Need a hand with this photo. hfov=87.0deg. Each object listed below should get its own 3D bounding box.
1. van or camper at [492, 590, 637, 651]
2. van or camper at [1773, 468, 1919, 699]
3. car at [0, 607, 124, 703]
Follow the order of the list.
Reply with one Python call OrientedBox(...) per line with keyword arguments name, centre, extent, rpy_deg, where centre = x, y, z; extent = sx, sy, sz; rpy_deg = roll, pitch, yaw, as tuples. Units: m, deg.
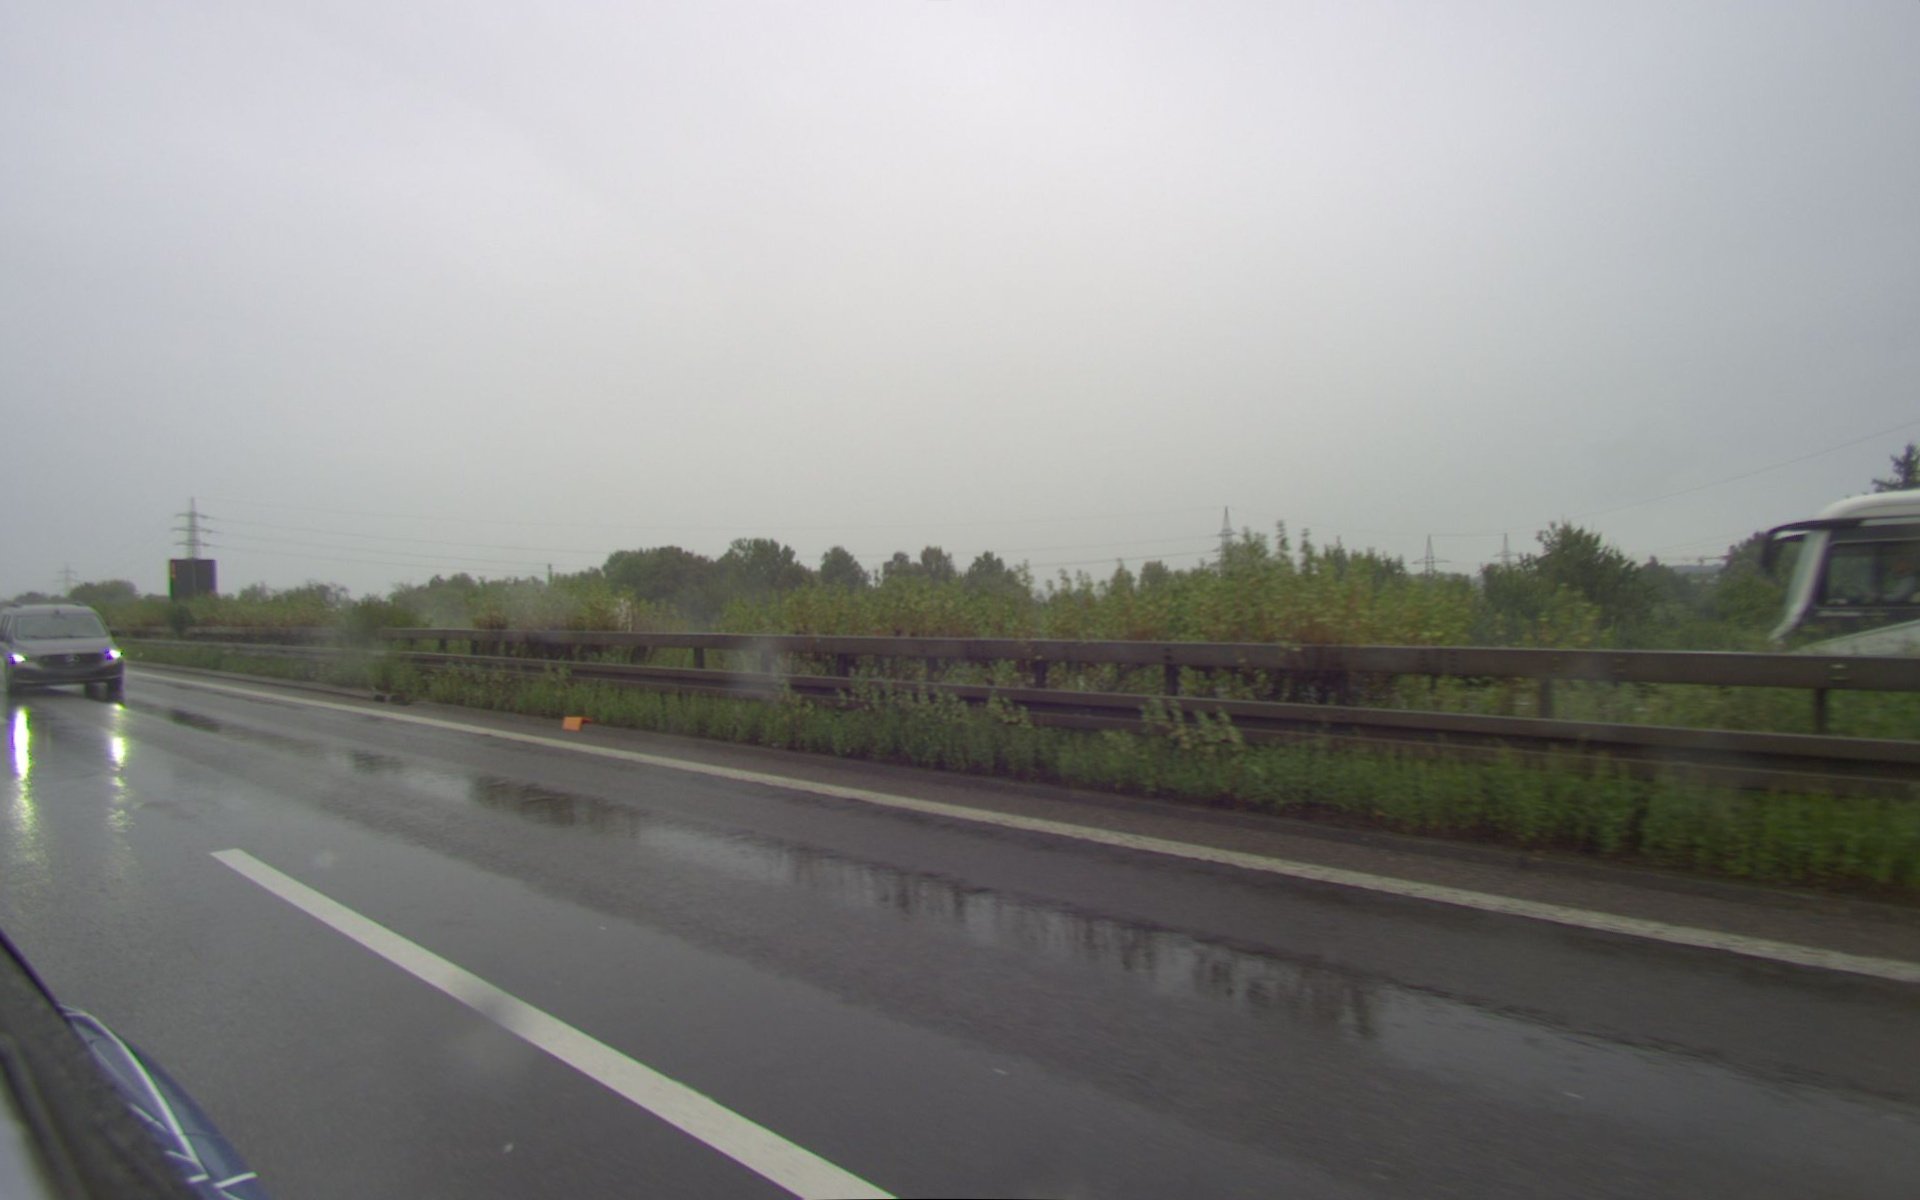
OrientedBox(name="van or camper", centre=(-16.988, 0.886, 43.217), extent=(7.333, 2.292, 2.578), rpy_deg=(-2, 1, 41))
OrientedBox(name="van or camper", centre=(16.320, -0.293, 12.615), extent=(9.509, 3.109, 2.857), rpy_deg=(-2, -1, 41))
OrientedBox(name="car", centre=(-19.119, 1.098, 21.175), extent=(4.501, 1.787, 2.019), rpy_deg=(-2, -1, 44))
